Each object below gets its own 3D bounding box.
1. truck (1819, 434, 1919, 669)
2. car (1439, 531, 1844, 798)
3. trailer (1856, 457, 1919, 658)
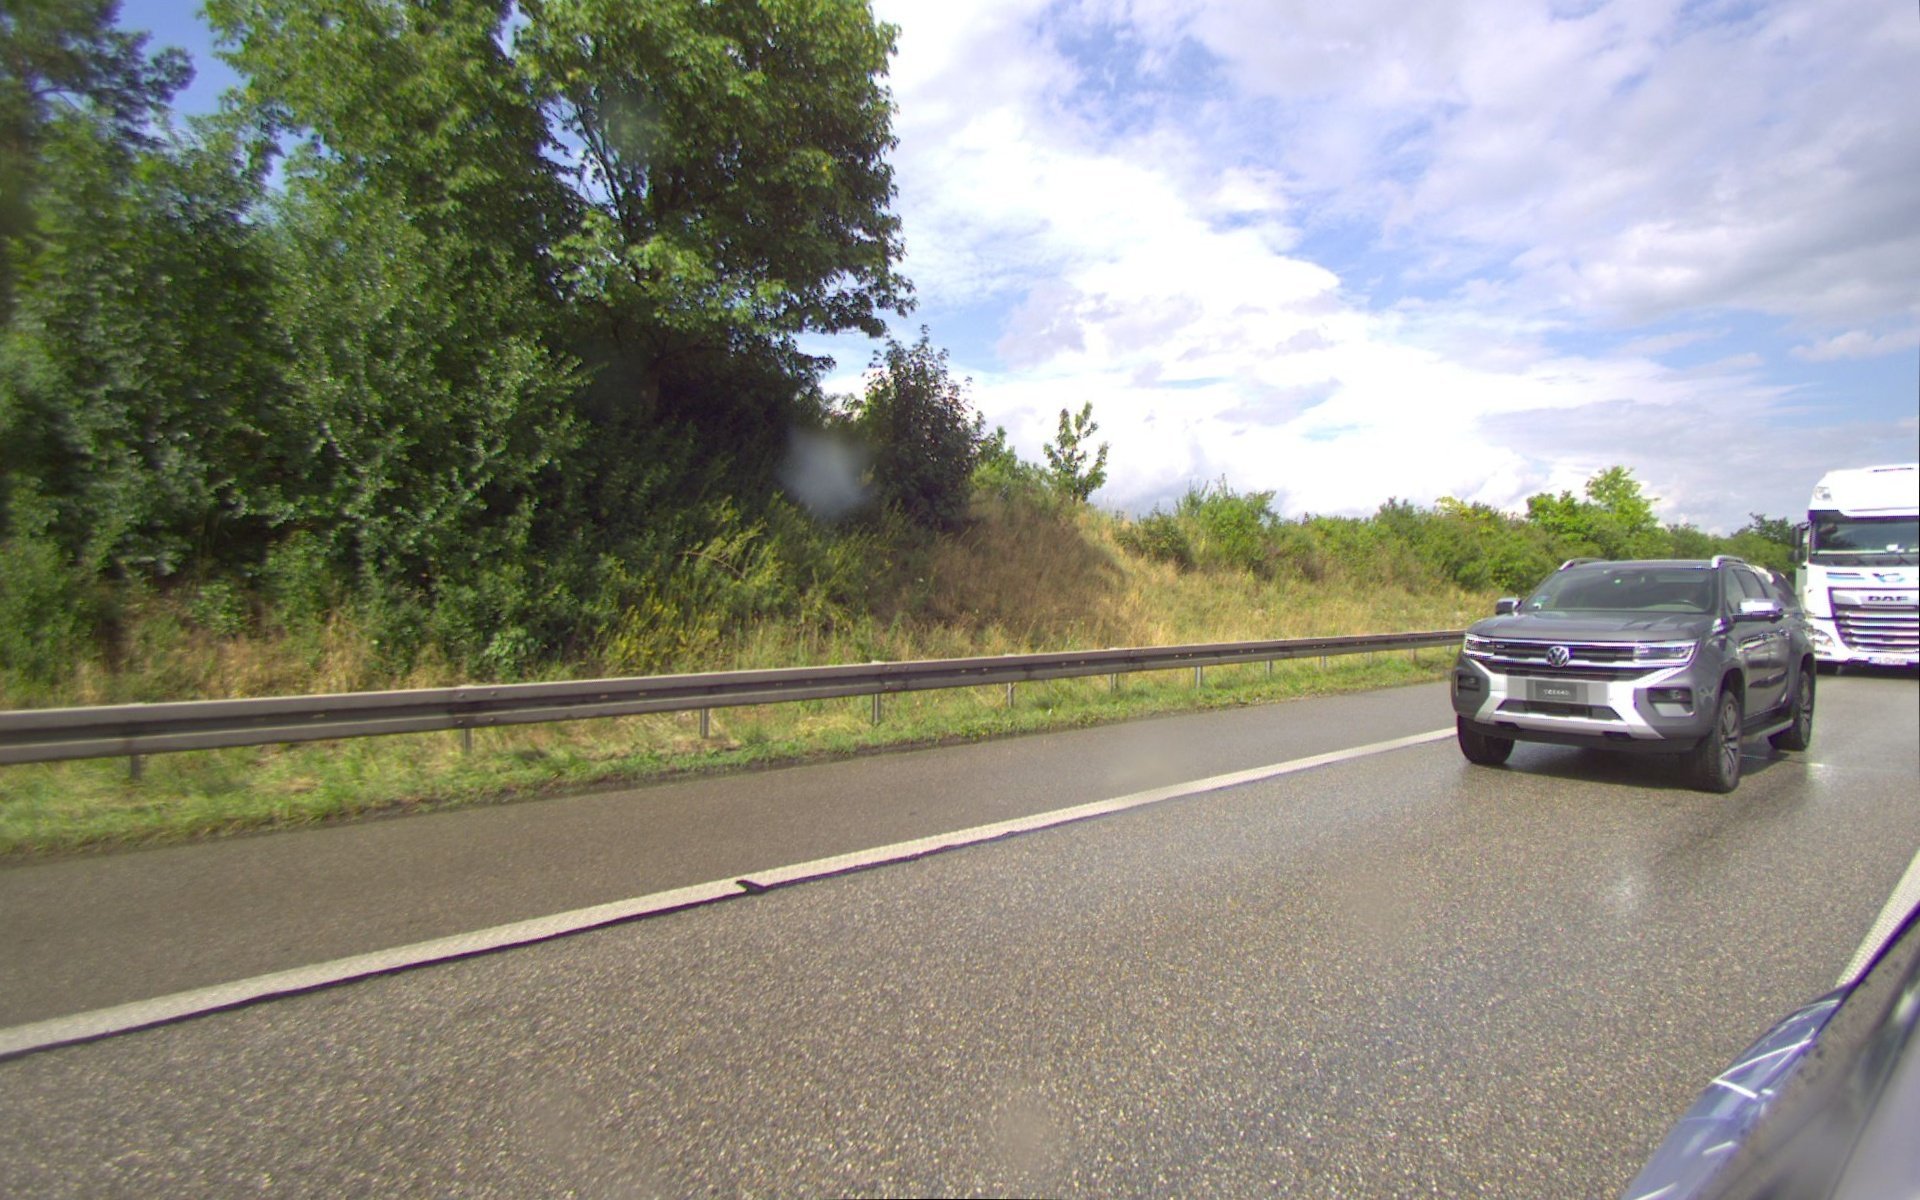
[{"bbox_3d":[18.806,-0.859,19.695,5.239,4.155,2.458,0,0,-41],"label":"truck"},{"bbox_3d":[6.500,0.412,9.352,5.213,1.826,1.830,0,1,-41],"label":"car"},{"bbox_3d":[24.522,-0.936,24.737,12.004,4.171,2.449,-1,0,-41],"label":"trailer"}]
